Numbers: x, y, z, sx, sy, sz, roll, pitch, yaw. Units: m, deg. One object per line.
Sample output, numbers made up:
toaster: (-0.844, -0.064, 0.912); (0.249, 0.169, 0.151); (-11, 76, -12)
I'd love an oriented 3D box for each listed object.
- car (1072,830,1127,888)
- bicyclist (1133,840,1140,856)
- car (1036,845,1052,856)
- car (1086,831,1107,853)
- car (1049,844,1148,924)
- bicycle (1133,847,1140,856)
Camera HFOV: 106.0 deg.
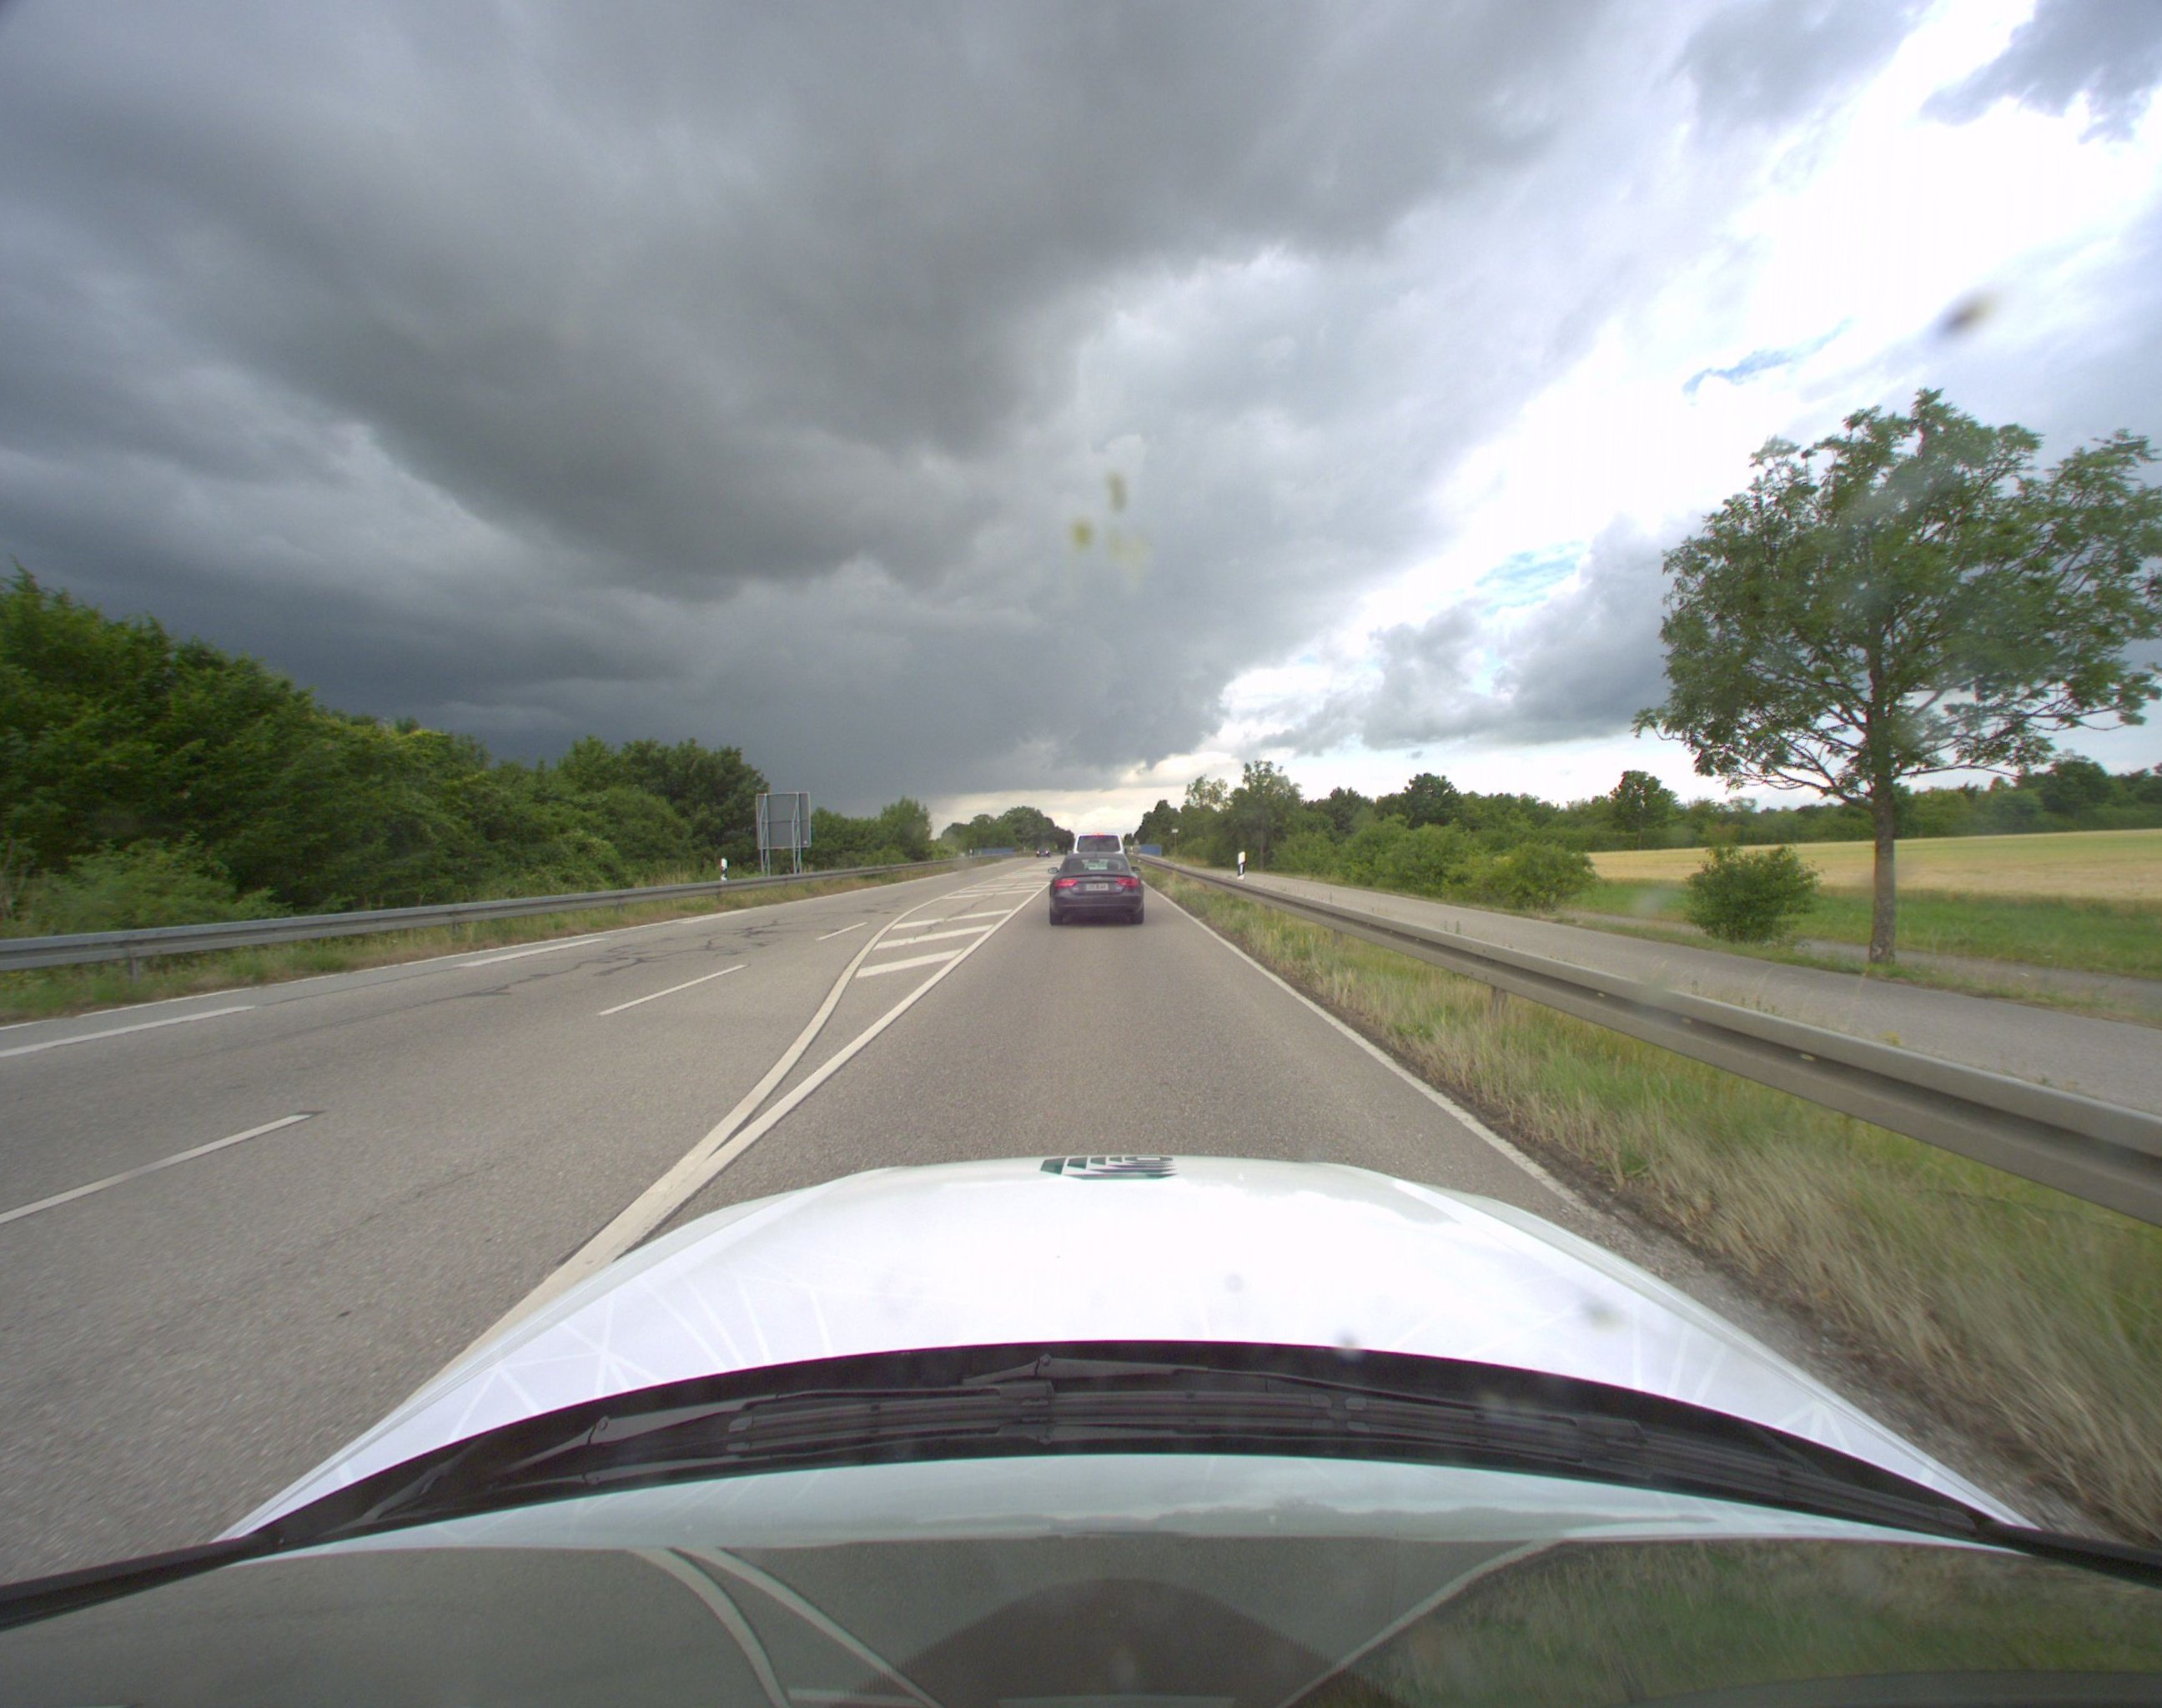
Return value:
car: (0.651, 0.166, 28.678); (1.779, 1.889, 4.000); (-1, 0, 1)
bicyclist: (5.732, -0.627, 84.509); (0.644, 1.645, 0.866); (-2, 0, 1)
car: (-4.863, -0.444, 107.513); (1.856, 1.376, 4.001); (-1, 1, 1)
car: (1.843, -1.378, 95.501); (2.438, 2.504, 5.043); (-1, 1, 1)
car: (0.356, 0.537, 16.804); (1.779, 1.423, 4.000); (-1, 0, 1)
bicycle: (5.750, -0.300, 84.459); (0.663, 0.920, 1.830); (-2, 0, 1)
